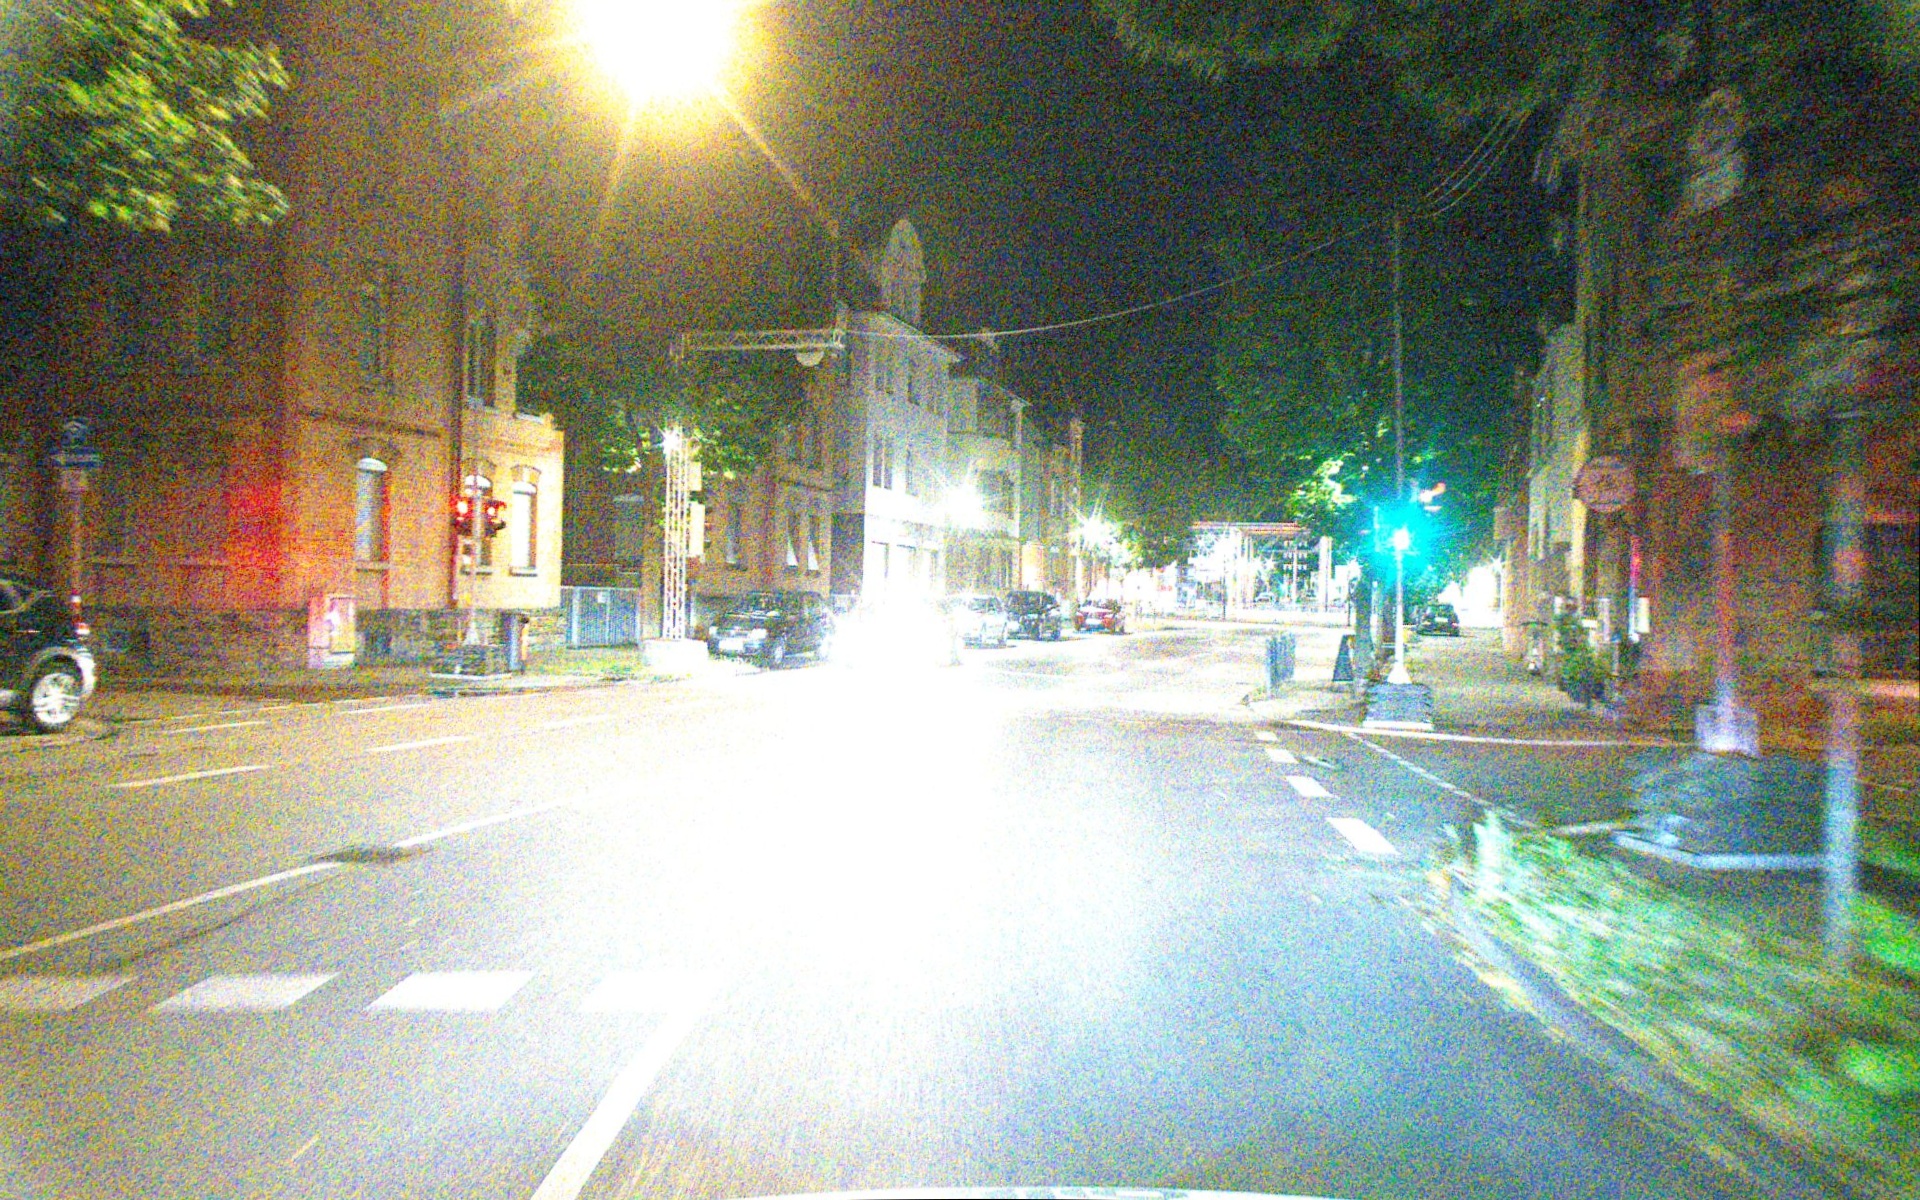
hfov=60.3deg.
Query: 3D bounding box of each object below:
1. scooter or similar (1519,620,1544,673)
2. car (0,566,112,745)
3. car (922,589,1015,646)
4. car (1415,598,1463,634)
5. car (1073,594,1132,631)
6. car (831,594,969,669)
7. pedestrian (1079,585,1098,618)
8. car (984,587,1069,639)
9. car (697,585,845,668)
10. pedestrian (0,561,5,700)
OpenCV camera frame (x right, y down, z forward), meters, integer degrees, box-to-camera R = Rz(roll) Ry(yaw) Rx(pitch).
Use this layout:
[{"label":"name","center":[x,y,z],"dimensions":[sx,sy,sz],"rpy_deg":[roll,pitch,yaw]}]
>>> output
[{"label":"scooter or similar","center":[12.874,1.029,37.258],"dimensions":[0.413,1.150,1.493],"rpy_deg":[1,0,23]},{"label":"car","center":[-9.966,0.478,14.839],"dimensions":[1.846,1.624,4.026],"rpy_deg":[3,1,17]},{"label":"car","center":[0.292,0.490,49.141],"dimensions":[1.747,1.517,4.003],"rpy_deg":[4,1,14]},{"label":"car","center":[21.324,0.671,73.764],"dimensions":[1.697,1.485,4.732],"rpy_deg":[2,0,12]},{"label":"car","center":[5.990,0.495,69.126],"dimensions":[1.747,1.440,4.130],"rpy_deg":[3,1,14]},{"label":"car","center":[-1.168,0.611,34.299],"dimensions":[1.679,1.454,4.003],"rpy_deg":[0,0,16]},{"label":"pedestrian","center":[7.327,0.075,94.367],"dimensions":[0.716,1.853,0.685],"rpy_deg":[3,-1,-30]},{"label":"car","center":[2.339,0.434,56.902],"dimensions":[1.747,1.609,4.413],"rpy_deg":[4,1,17]},{"label":"car","center":[-3.930,0.514,34.996],"dimensions":[1.560,1.517,3.700],"rpy_deg":[4,3,20]},{"label":"pedestrian","center":[-12.371,0.369,20.097],"dimensions":[0.695,1.720,1.123],"rpy_deg":[1,0,26]}]
